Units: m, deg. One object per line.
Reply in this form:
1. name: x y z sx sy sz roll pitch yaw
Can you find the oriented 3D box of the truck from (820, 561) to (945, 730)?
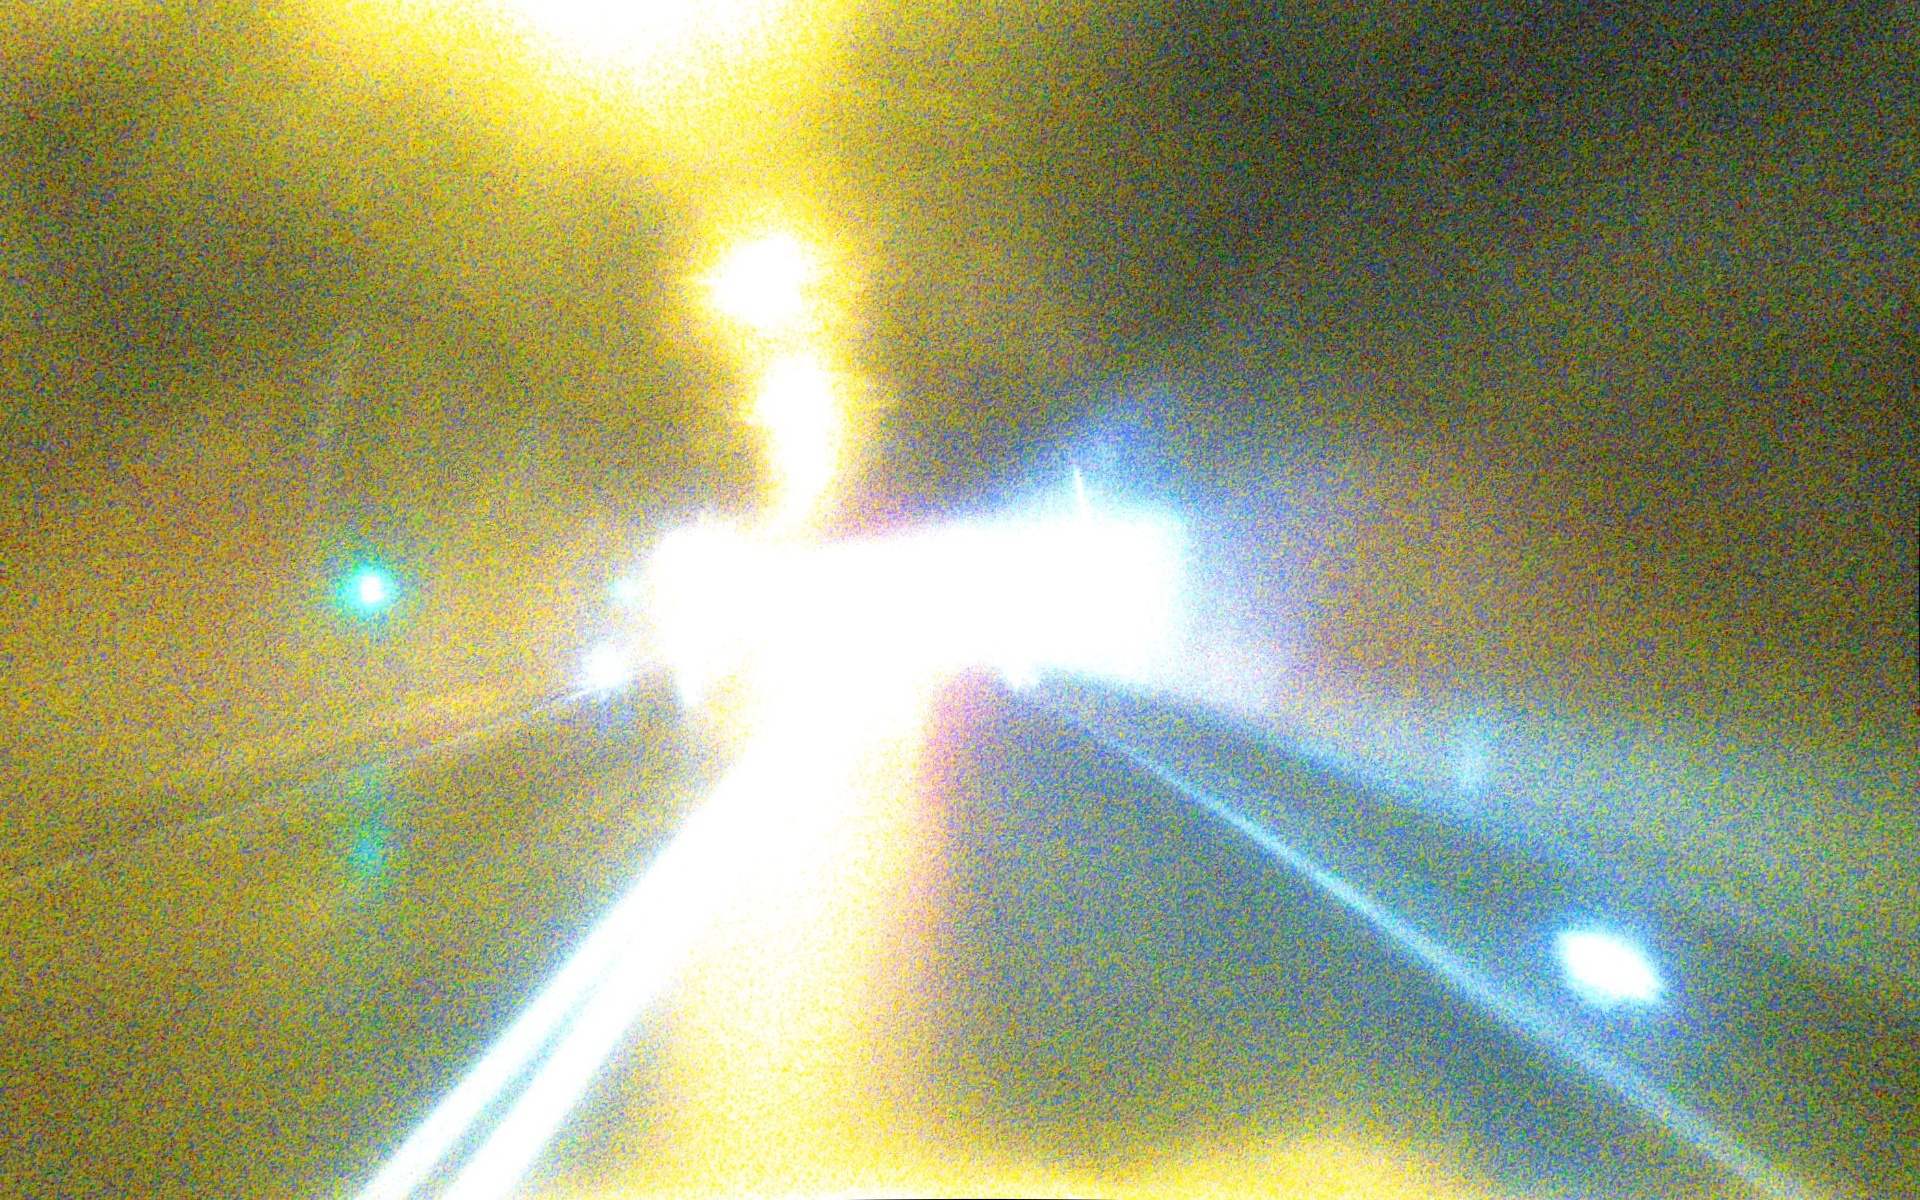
1. truck: -1.616 0.857 34.491 2.217 3.063 7.411 2 0 -3
